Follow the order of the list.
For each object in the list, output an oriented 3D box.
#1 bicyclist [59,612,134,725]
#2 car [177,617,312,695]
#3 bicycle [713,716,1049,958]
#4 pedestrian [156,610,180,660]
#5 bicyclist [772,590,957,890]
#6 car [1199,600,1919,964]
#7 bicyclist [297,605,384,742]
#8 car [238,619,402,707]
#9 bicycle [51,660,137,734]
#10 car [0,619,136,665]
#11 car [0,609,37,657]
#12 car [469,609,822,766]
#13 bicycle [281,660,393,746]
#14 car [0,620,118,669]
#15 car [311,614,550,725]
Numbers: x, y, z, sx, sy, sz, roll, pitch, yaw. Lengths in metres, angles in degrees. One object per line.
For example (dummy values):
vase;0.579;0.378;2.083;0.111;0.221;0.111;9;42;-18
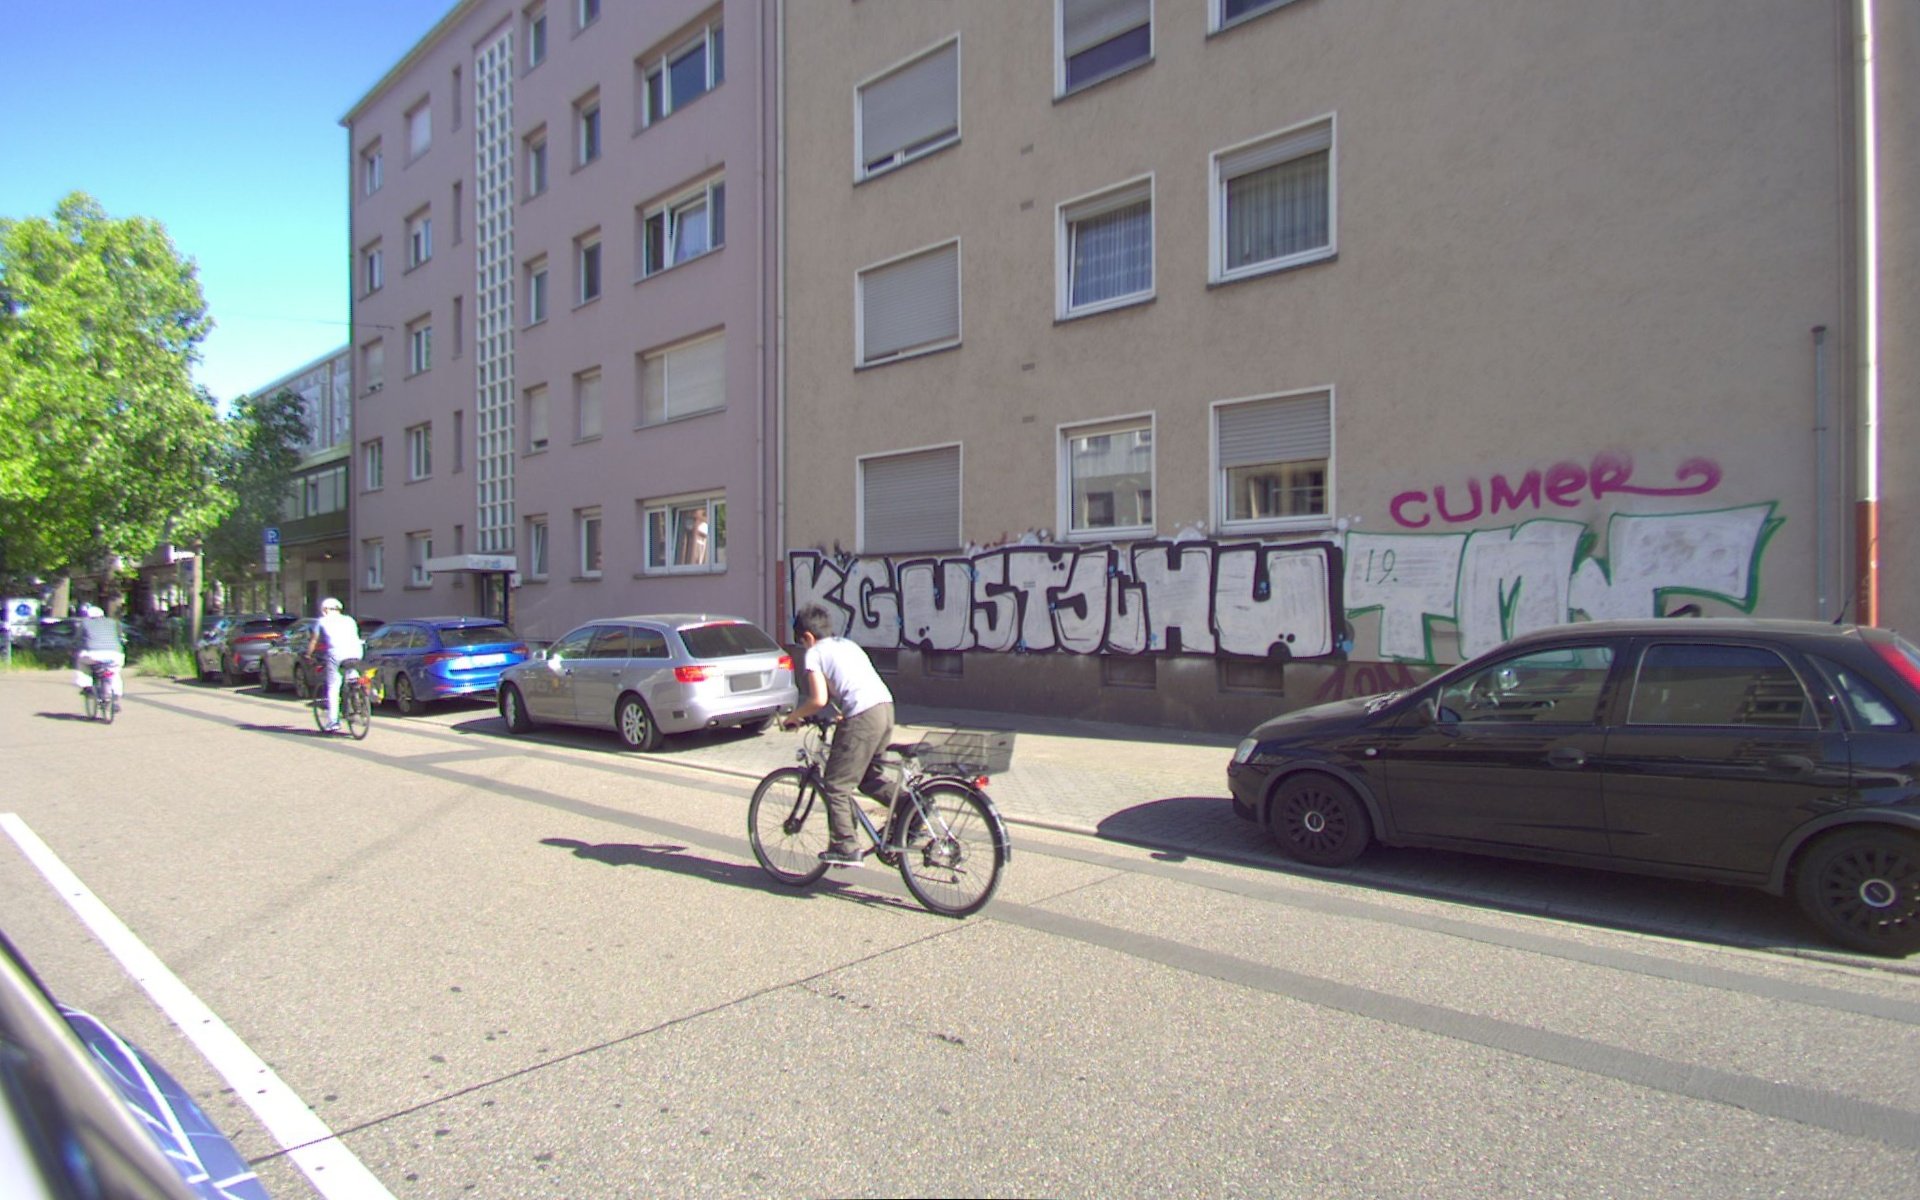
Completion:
bicyclist;-12.562;0.977;14.722;0.898;1.588;0.672;-2;-3;41
car;-16.650;1.231;23.475;4.157;1.588;1.704;-1;1;43
bicycle;-0.460;1.116;5.171;1.823;0.909;0.537;-1;-1;38
pedestrian;-29.079;1.279;37.139;0.502;1.820;0.615;-2;-1;42
bicyclist;-0.494;0.665;5.206;0.787;1.402;0.537;-1;-1;37
car;3.512;0.786;5.698;3.853;1.459;1.674;-1;1;40
bicyclist;-7.795;0.897;12.732;0.898;1.643;0.672;-2;-3;41
car;-12.728;1.175;20.019;4.157;1.478;1.704;-1;1;43
bicycle;-12.663;1.387;14.786;1.933;0.959;0.672;-1;-3;42
car;-33.154;1.530;37.446;1.913;1.564;3.943;-2;-1;43
car;-42.462;1.446;43.609;1.913;2.058;3.824;-2;-1;43
car;-4.012;0.933;12.440;4.798;1.514;1.805;-1;1;40
bicycle;-7.909;1.266;12.822;1.933;0.959;0.672;-1;-2;42
car;-31.462;1.489;34.576;1.913;1.564;3.943;-2;-1;43
car;-8.877;1.054;16.777;4.798;1.514;1.805;-1;1;40
